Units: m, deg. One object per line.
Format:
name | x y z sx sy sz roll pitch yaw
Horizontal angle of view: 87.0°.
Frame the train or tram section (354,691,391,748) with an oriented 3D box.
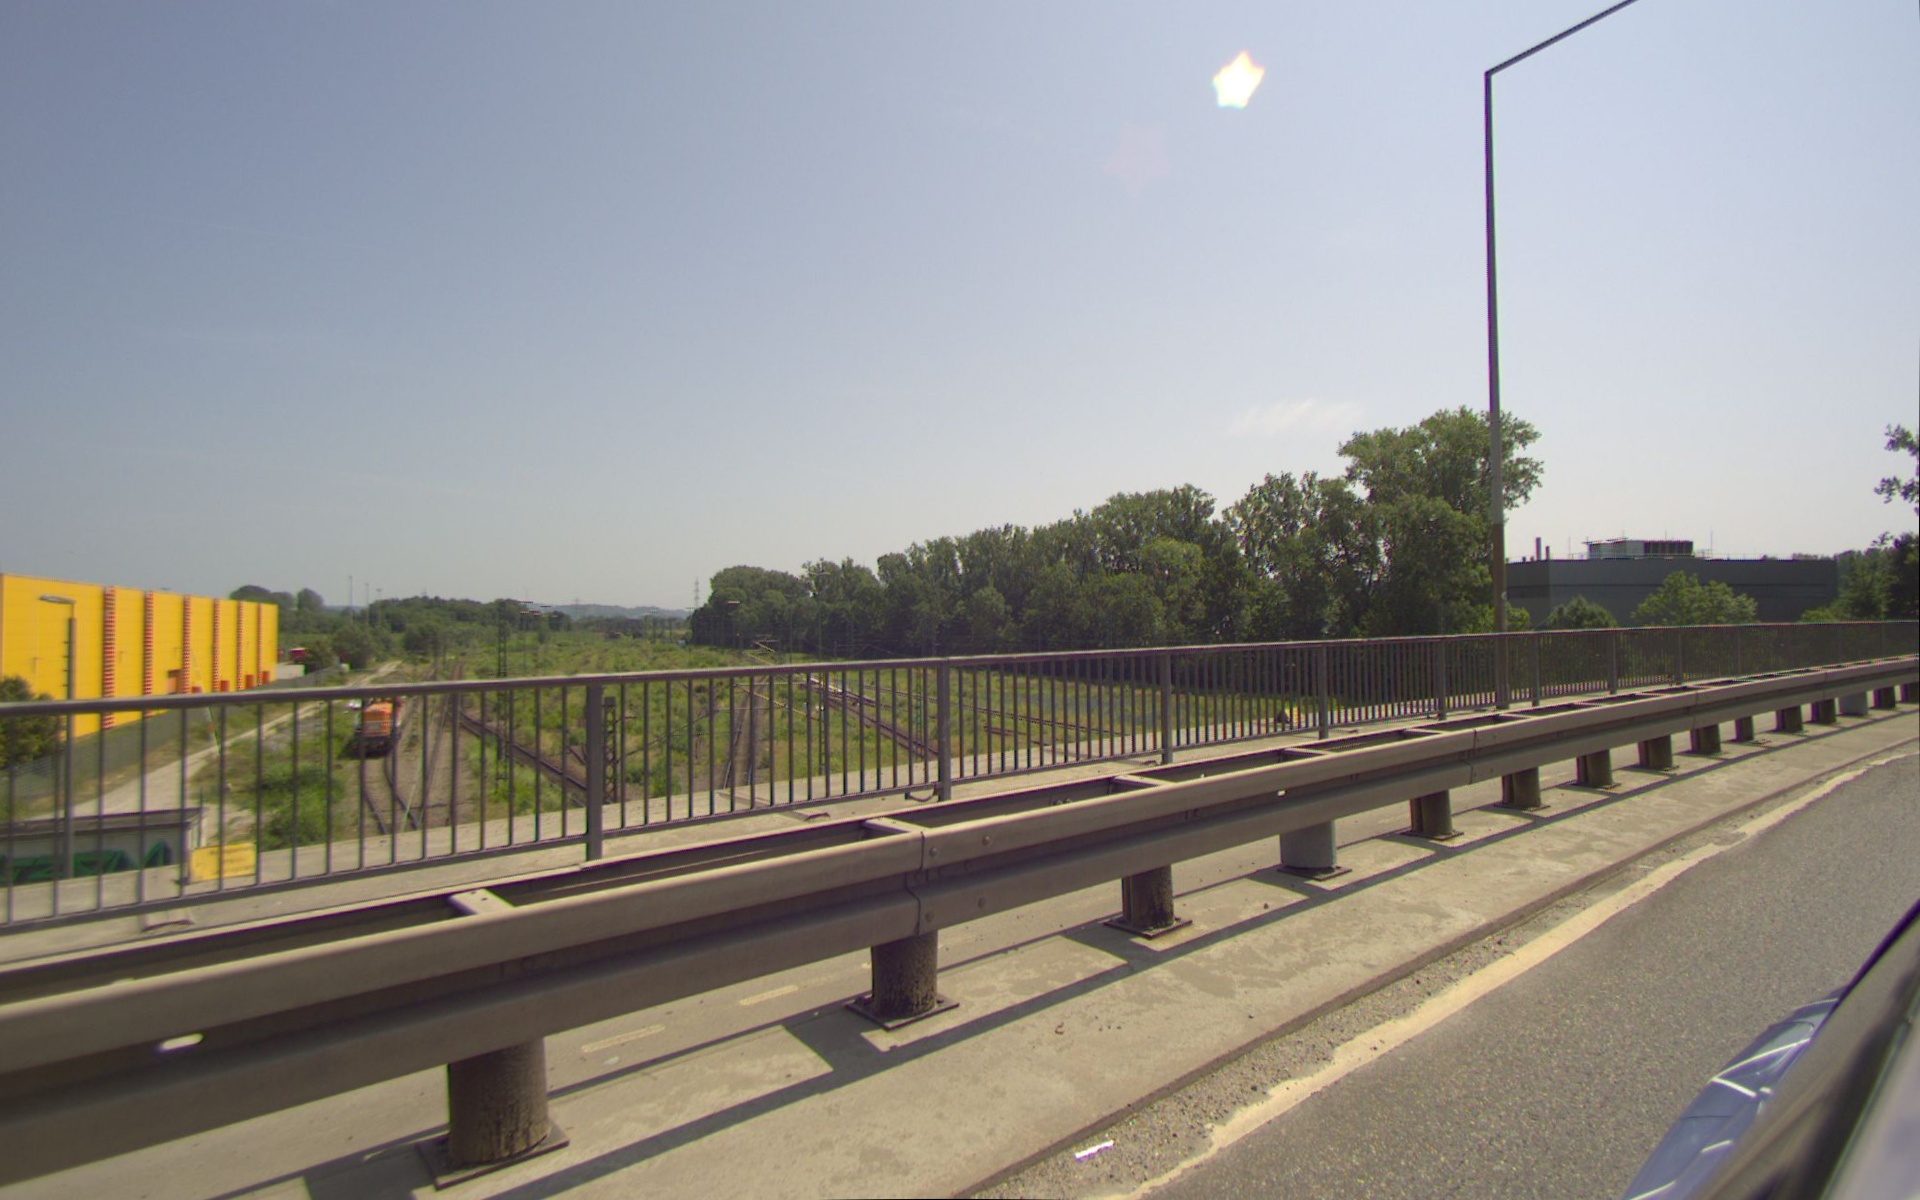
train or tram section | -47.919 9.538 82.712 2.194 3.738 14.017 1 -3 -29
